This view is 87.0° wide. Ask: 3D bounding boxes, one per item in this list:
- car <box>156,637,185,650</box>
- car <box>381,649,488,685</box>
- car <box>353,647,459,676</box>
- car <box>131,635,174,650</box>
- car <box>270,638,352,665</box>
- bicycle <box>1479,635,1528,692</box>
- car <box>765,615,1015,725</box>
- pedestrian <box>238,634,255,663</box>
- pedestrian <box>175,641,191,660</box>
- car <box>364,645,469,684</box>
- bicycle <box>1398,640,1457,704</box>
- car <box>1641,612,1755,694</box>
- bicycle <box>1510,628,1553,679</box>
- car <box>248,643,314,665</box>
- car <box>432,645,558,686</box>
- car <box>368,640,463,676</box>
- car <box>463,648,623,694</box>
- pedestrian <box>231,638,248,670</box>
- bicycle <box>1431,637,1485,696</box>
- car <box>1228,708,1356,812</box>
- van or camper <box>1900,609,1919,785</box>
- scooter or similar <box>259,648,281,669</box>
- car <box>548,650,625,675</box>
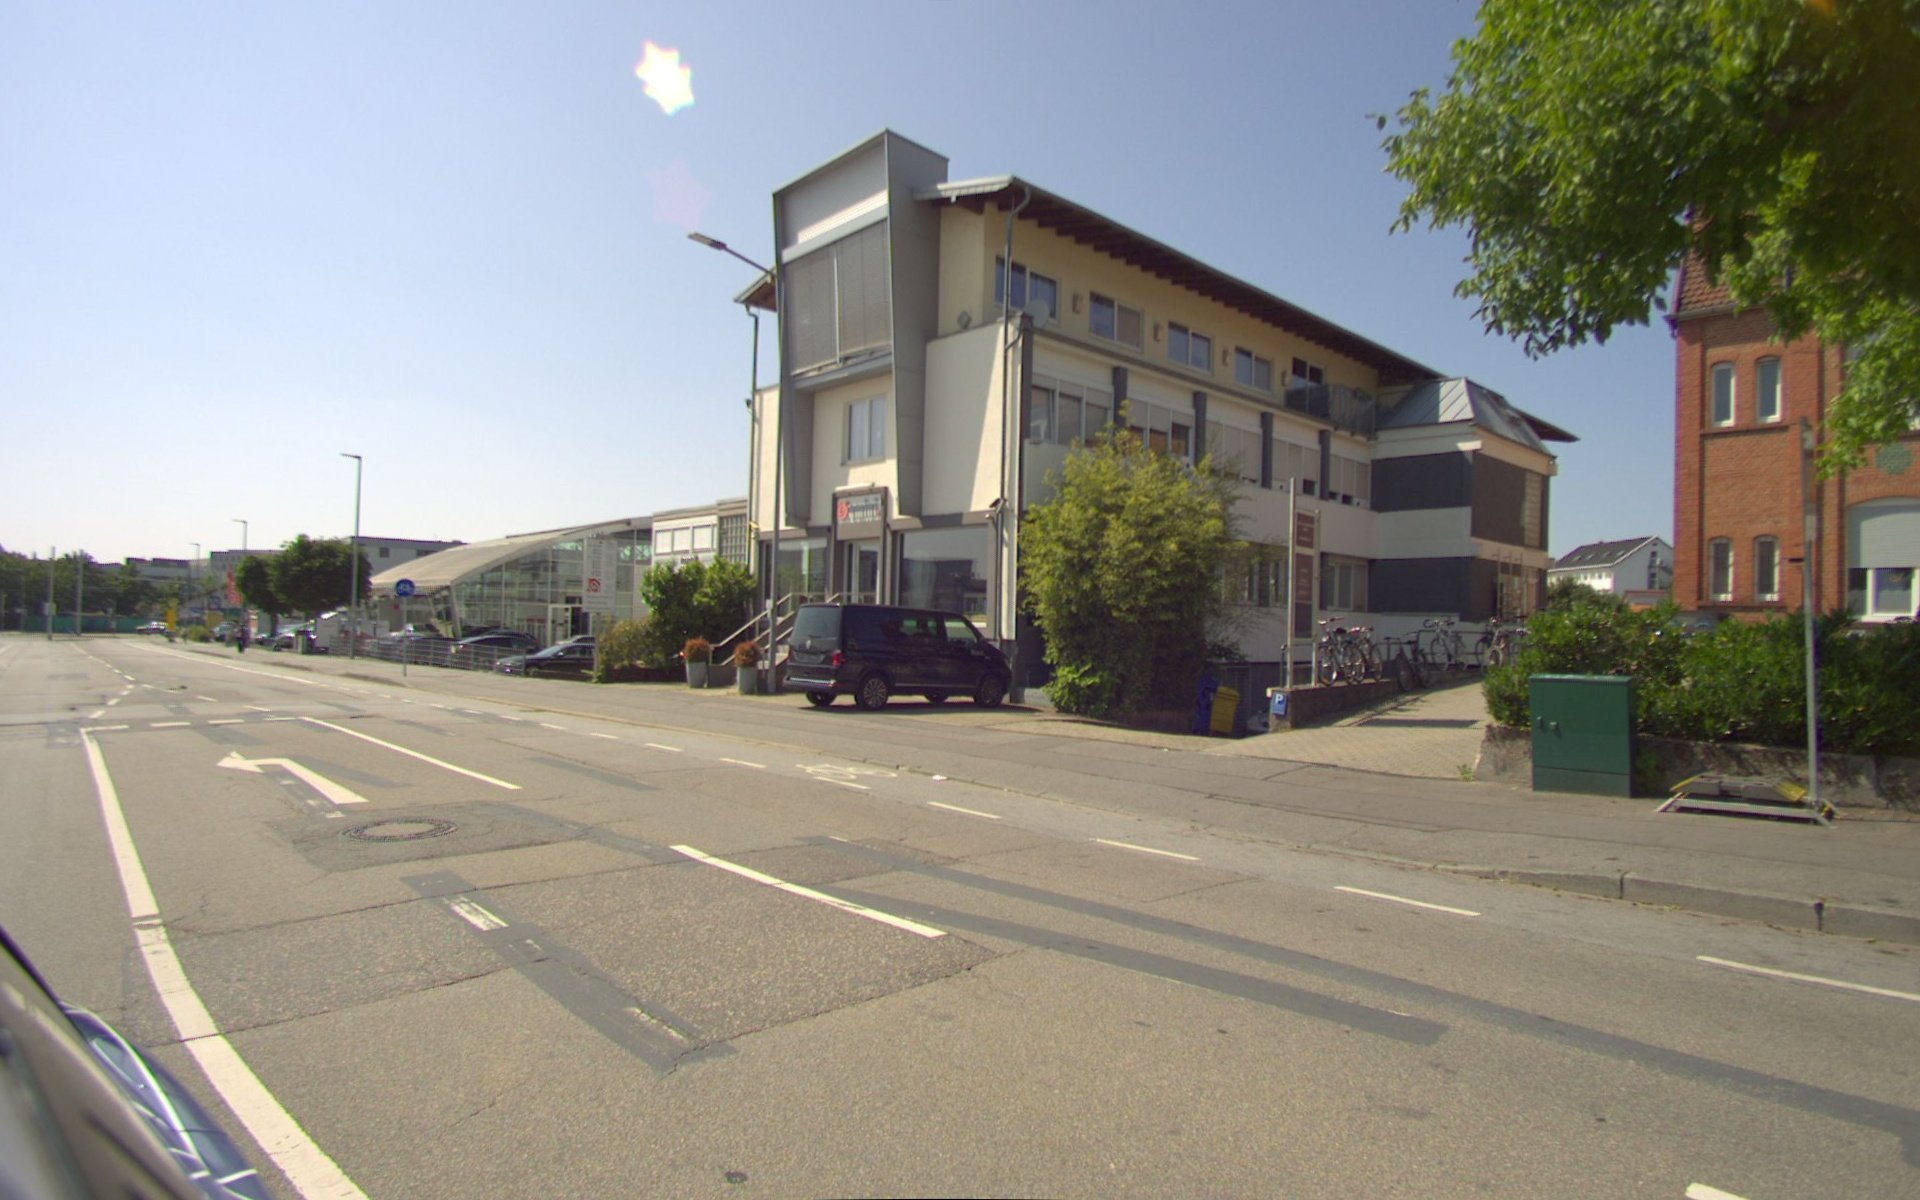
[{"bbox_3d":[-91.544,5.008,117.433,1.717,1.415,4.338,2,-2,-26],"label":"car"},{"bbox_3d":[-24.139,3.045,46.531,1.860,1.501,3.942,1,-2,44],"label":"car"},{"bbox_3d":[-28.822,3.179,52.743,4.471,1.469,1.902,3,-4,-44],"label":"car"},{"bbox_3d":[-105.967,5.565,132.799,3.931,1.719,2.006,-2,-1,-21],"label":"car"},{"bbox_3d":[-42.443,3.336,66.317,1.840,1.709,4.562,-1,-2,12],"label":"car"},{"bbox_3d":[11.688,1.347,21.746,0.514,1.109,1.614,-2,-1,43],"label":"bicycle"},{"bbox_3d":[-1.271,1.354,19.708,4.510,1.880,2.095,4,-5,-42],"label":"car"},{"bbox_3d":[-45.692,3.100,64.808,0.714,1.862,0.912,3,-4,-45],"label":"pedestrian"},{"bbox_3d":[-70.264,4.561,91.517,0.980,1.698,0.802,2,-3,-31],"label":"pedestrian"},{"bbox_3d":[-25.939,3.079,48.397,1.860,1.454,3.942,-2,-9,45],"label":"car"},{"bbox_3d":[8.982,1.348,19.417,0.514,1.109,1.614,-2,-1,43],"label":"bicycle"},{"bbox_3d":[16.513,1.099,22.577,1.626,1.549,3.943,0,1,43],"label":"car"},{"bbox_3d":[13.668,1.256,24.172,0.514,1.109,1.614,-2,-1,43],"label":"bicycle"},{"bbox_3d":[-49.972,3.967,74.584,1.883,1.470,4.155,-1,-1,4],"label":"car"},{"bbox_3d":[-19.077,2.669,41.643,1.996,1.570,4.248,-2,-4,44],"label":"car"},{"bbox_3d":[-27.309,2.864,50.777,3.843,1.455,1.826,-2,2,-42],"label":"car"},{"bbox_3d":[-14.366,2.421,35.043,4.683,1.492,2.049,3,-4,-44],"label":"car"},{"bbox_3d":[-42.892,3.185,60.226,0.723,1.882,1.049,3,-4,-38],"label":"pedestrian"},{"bbox_3d":[10.215,1.338,20.742,0.514,1.109,1.614,-2,-1,43],"label":"bicycle"},{"bbox_3d":[8.729,4.060,26.456,1.996,2.029,3.951,-2,-1,37],"label":"car"},{"bbox_3d":[10.966,0.905,10.311,3.350,1.677,1.636,-1,-2,-41],"label":"van or camper"},{"bbox_3d":[-42.841,3.642,62.809,1.489,1.257,0.736,-2,-3,40],"label":"scooter or similar"},{"bbox_3d":[-22.471,3.743,60.932,3.939,1.370,1.861,2,-3,-43],"label":"car"}]
